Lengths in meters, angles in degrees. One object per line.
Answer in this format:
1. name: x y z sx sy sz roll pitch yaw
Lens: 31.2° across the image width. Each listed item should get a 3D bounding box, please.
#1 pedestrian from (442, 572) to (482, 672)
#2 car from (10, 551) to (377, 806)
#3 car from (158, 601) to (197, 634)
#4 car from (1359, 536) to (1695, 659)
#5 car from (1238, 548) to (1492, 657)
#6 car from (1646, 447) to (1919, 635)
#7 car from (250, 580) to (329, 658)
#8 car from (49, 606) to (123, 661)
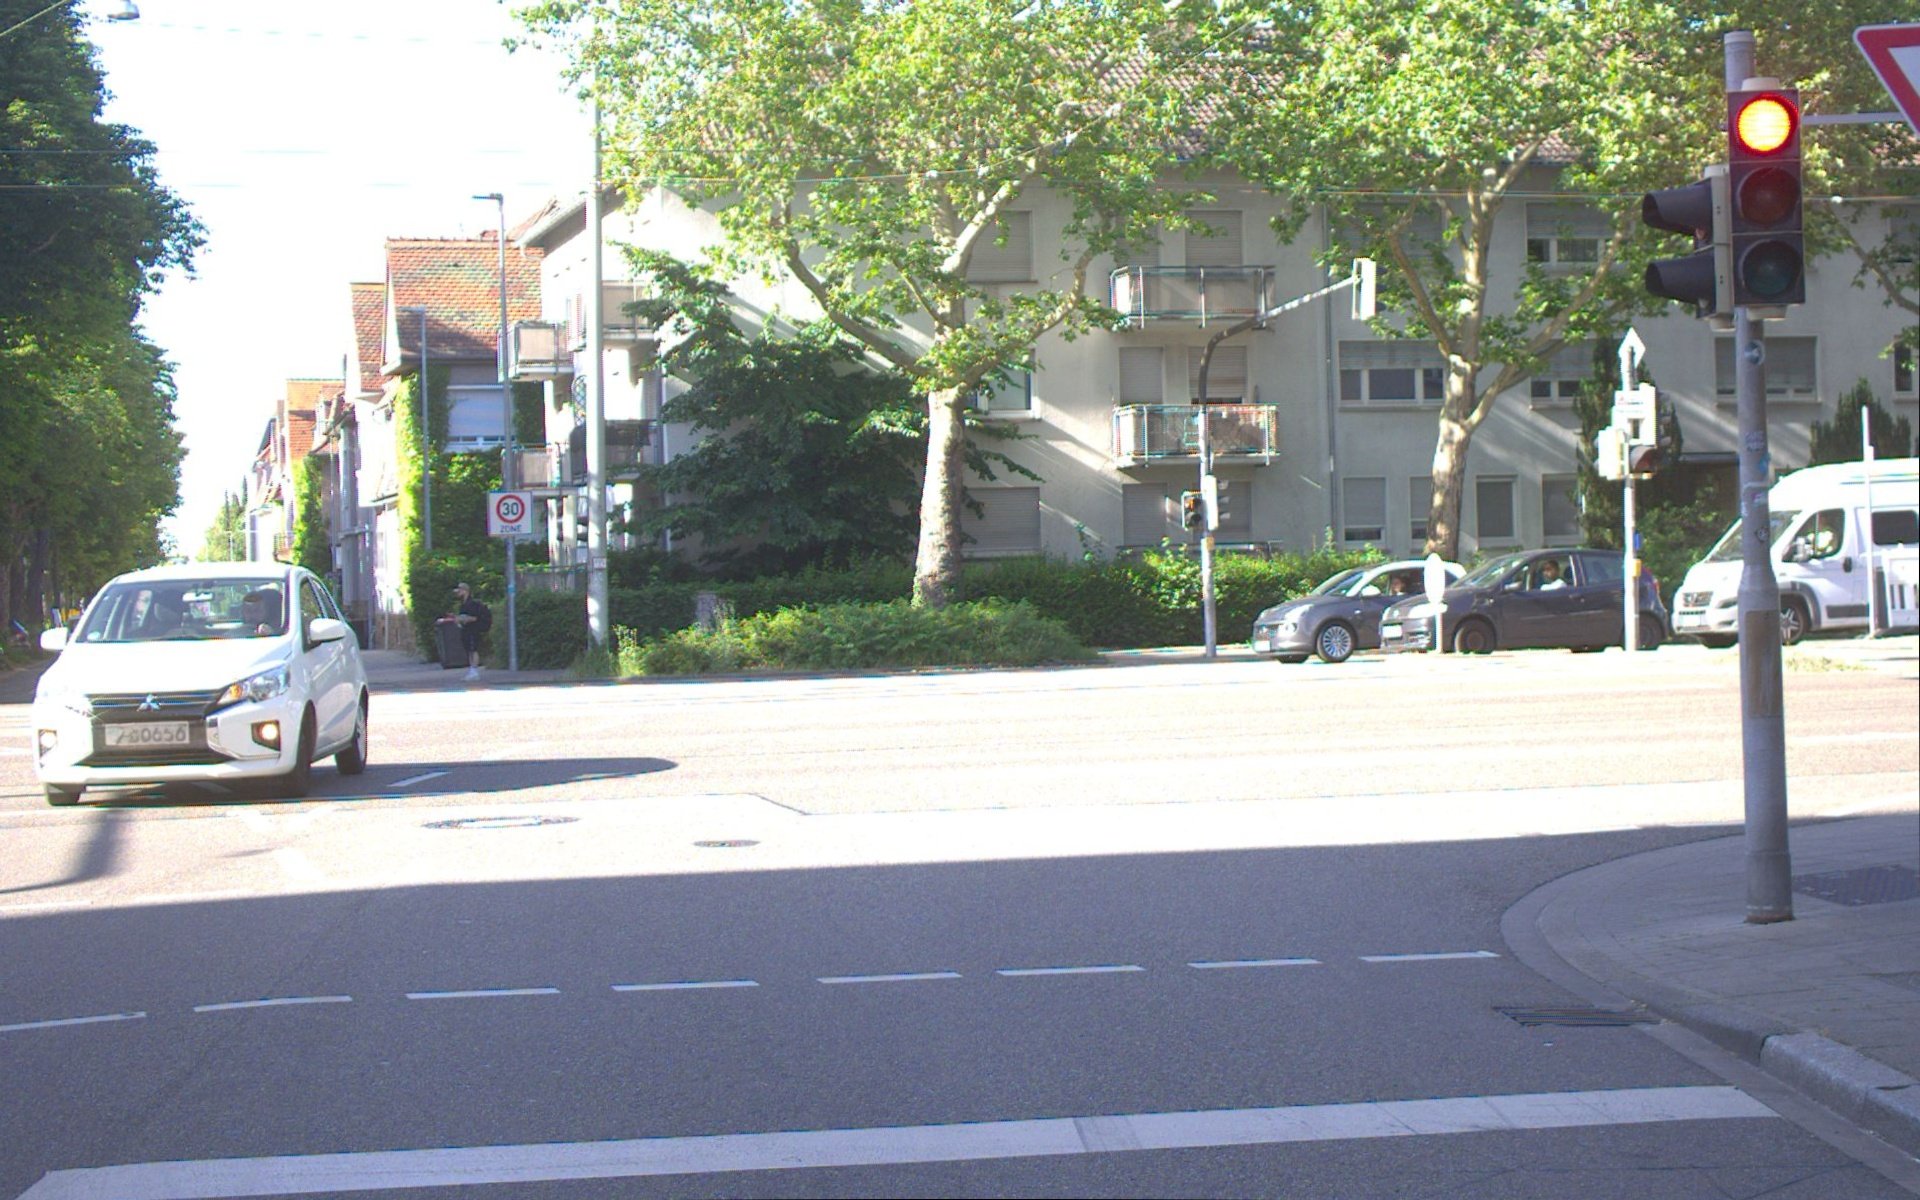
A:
1. pedestrian: -8.713 0.386 60.217 0.633 1.744 0.659 -1 0 -4
2. car: -4.895 0.441 22.424 1.624 1.467 3.800 -2 1 -2
3. car: -36.167 0.817 158.943 1.673 1.477 3.523 -1 0 -12
4. car: 7.434 -0.053 45.118 3.986 1.446 1.659 -2 1 -18
5. car: 5.994 0.025 50.946 3.379 1.482 1.525 -2 1 -22
6. car: 13.204 -0.909 50.035 6.039 2.559 2.001 -2 1 -18
7. car: -18.506 0.507 94.969 1.993 2.007 4.001 -2 1 -10
8. car: -25.331 0.943 99.611 1.993 1.441 4.001 -2 1 -15
